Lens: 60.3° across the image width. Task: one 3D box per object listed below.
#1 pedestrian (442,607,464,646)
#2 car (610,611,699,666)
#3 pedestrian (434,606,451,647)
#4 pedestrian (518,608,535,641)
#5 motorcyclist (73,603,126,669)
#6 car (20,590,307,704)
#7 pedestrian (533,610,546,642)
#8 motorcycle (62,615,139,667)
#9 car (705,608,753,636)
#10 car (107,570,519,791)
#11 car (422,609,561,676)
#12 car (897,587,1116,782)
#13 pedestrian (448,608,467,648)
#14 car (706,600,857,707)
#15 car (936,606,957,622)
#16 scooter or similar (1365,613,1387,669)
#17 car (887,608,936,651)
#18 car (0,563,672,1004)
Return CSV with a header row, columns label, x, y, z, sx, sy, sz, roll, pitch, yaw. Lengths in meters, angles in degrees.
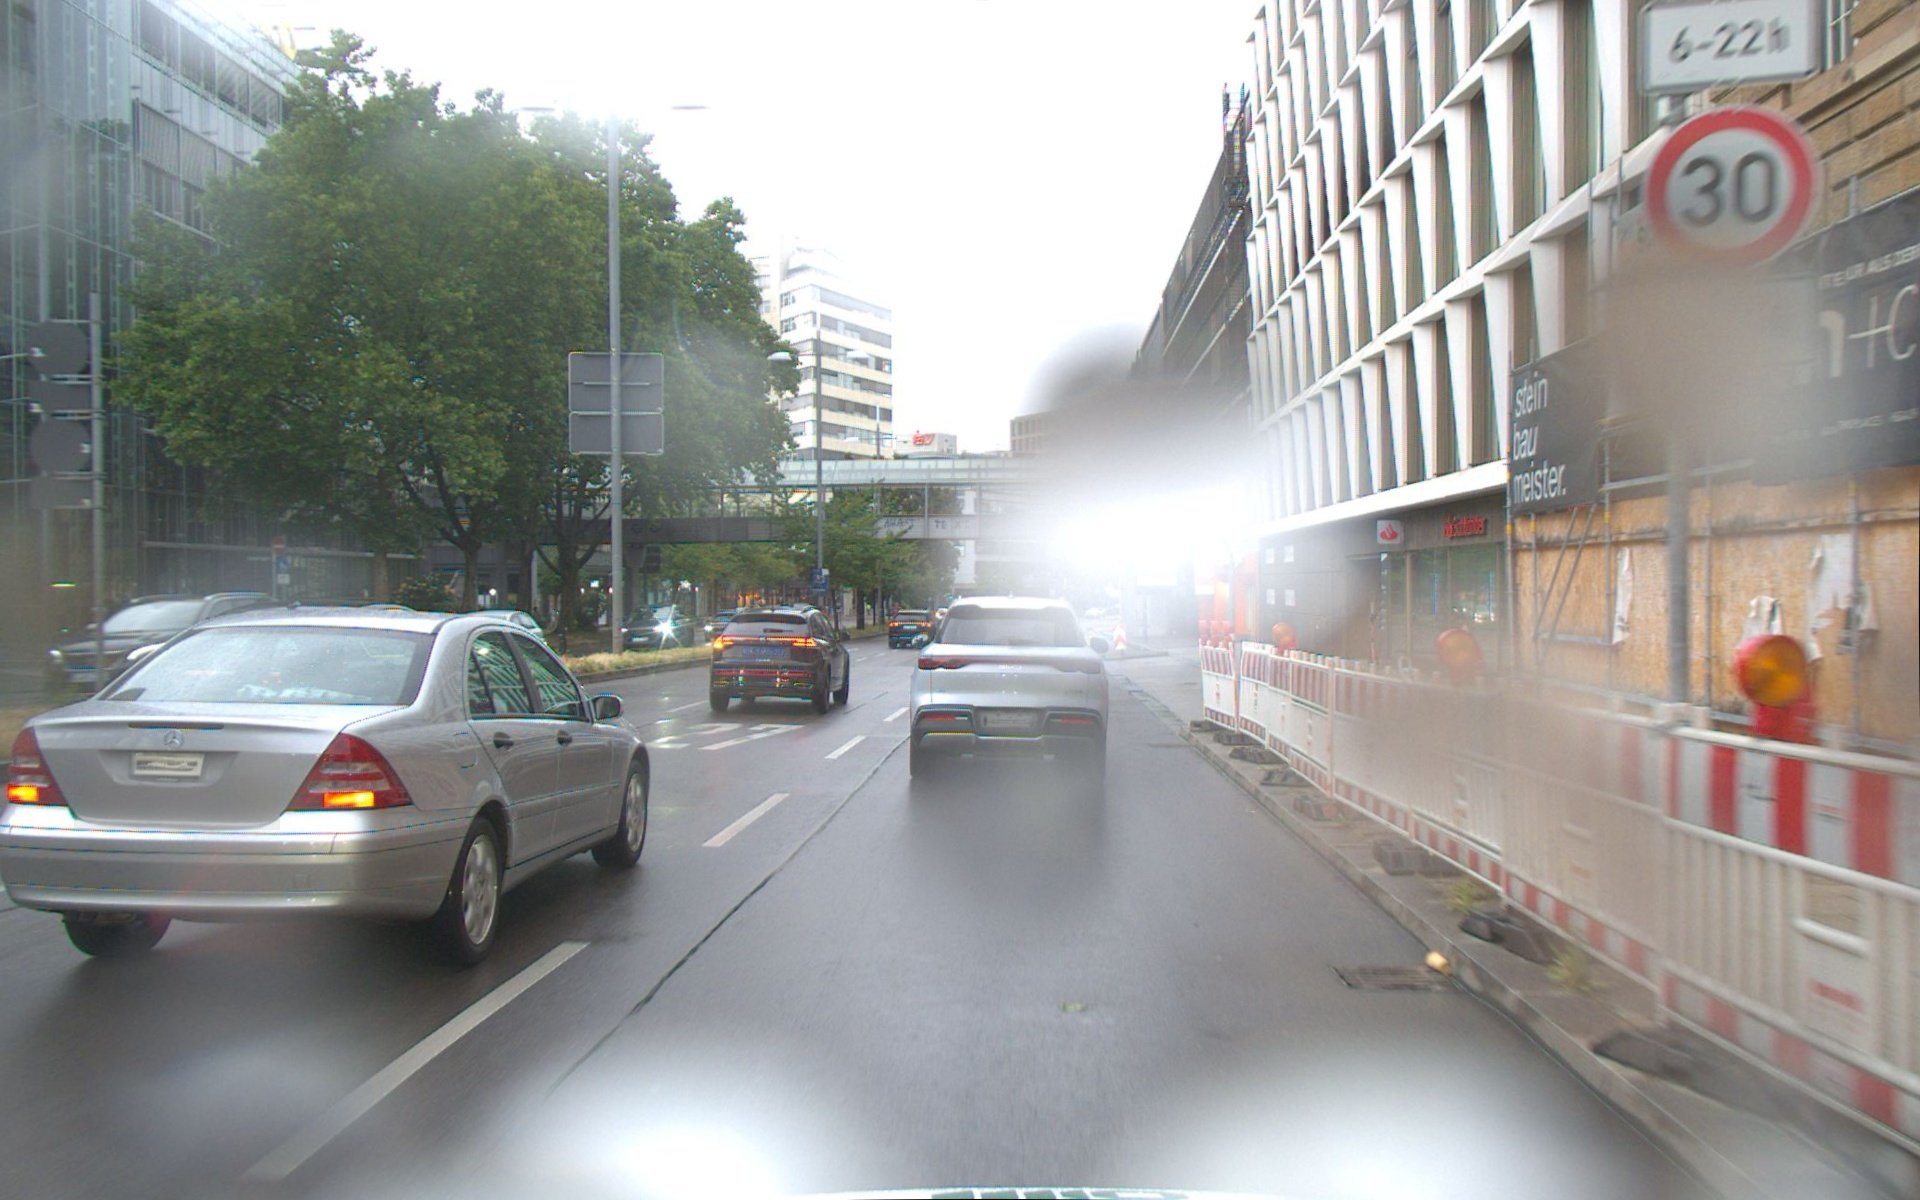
label,x,y,z,sx,sy,sz,roll,pitch,yaw
pedestrian,-24.172,1.275,78.860,0.719,1.839,0.803,0,0,3
car,-9.810,1.229,53.454,1.835,1.710,4.682,0,-1,3
pedestrian,-23.627,1.206,75.509,0.593,1.839,0.511,0,0,3
pedestrian,-23.856,1.340,91.036,0.707,1.839,0.618,0,0,3
motorcyclist,-16.664,0.698,32.033,0.660,1.260,0.620,0,-1,4
car,-11.145,0.653,23.543,1.664,1.463,4.583,0,-1,3
pedestrian,-23.155,1.432,91.013,0.547,1.716,0.511,0,0,2
motorcycle,-16.666,0.779,32.084,0.680,0.987,1.397,0,-1,4
car,-12.096,1.171,86.960,1.655,1.463,4.760,0,-1,3
car,-5.867,0.606,15.786,1.834,1.504,4.880,-4,3,1
car,-10.127,0.914,36.056,1.563,1.384,4.118,0,-1,5
car,0.480,0.743,16.052,1.861,1.650,4.001,0,-1,2
pedestrian,-22.942,1.281,75.514,0.584,1.839,0.760,0,0,3
car,-2.614,0.788,25.083,1.737,1.482,4.000,0,-1,2
car,-1.196,1.263,149.787,1.618,1.365,4.002,0,0,4
scooter or similar,9.456,0.916,37.608,0.403,1.258,1.190,0,-1,11
car,-1.861,1.124,64.525,1.774,1.606,3.999,0,0,0
car,-2.680,0.686,7.933,1.637,1.505,4.361,1,-1,2
